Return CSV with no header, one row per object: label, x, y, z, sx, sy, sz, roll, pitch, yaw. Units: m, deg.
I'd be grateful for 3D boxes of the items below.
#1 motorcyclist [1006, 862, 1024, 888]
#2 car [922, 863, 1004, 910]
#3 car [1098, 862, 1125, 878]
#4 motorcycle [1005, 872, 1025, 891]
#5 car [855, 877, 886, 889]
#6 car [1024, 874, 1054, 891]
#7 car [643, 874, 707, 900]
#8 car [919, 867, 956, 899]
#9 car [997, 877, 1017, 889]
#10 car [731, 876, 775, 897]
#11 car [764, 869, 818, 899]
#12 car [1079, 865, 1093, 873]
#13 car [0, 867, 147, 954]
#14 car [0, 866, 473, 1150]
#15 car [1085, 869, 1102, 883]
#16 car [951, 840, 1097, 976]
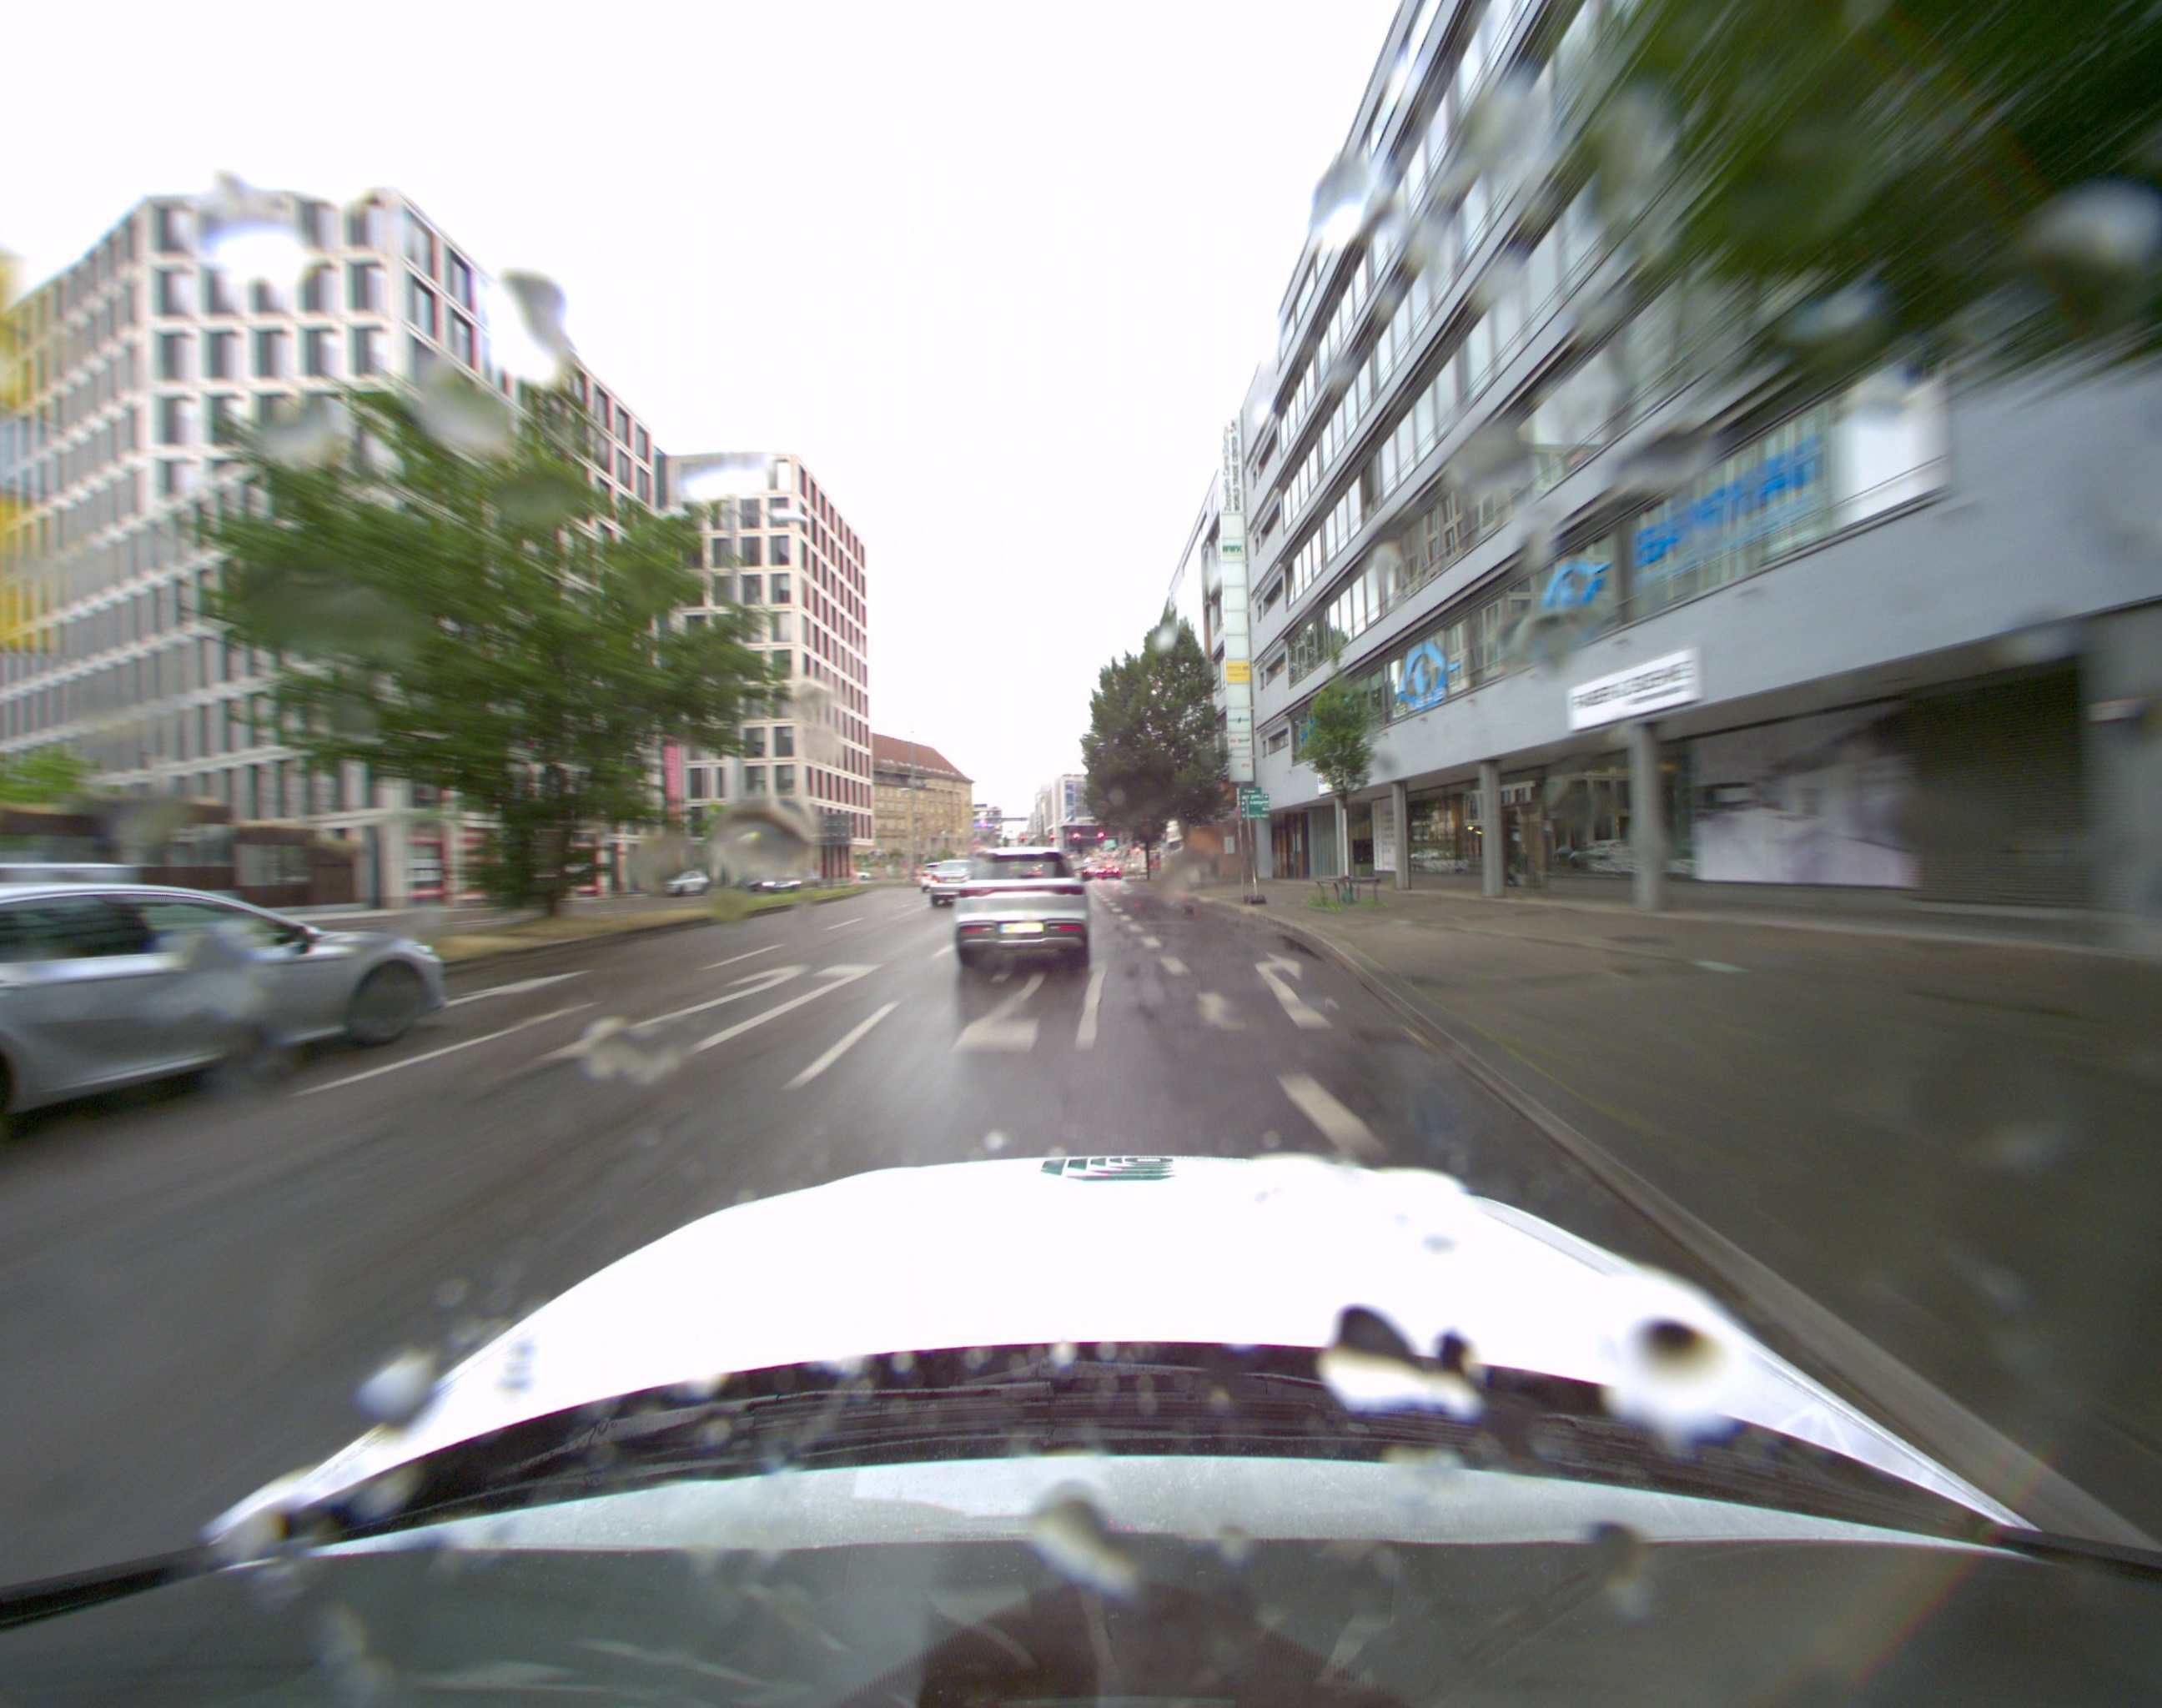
motorcyclist,-3.780,1.187,46.834,0.938,1.476,1.100,-1,-2,1
car,-3.771,1.027,26.828,1.725,1.404,4.388,-1,-2,4
car,3.090,1.604,81.714,1.877,1.544,4.009,-1,-2,15
motorcycle,-3.772,1.564,46.762,0.938,0.989,2.295,-1,-1,1
car,-31.262,4.345,120.905,4.390,1.662,1.989,0,-2,-17
car,-3.799,2.625,75.052,1.877,1.515,5.011,-1,-2,7
car,-25.147,1.995,50.605,1.692,1.424,4.373,-3,-1,0
car,-7.799,1.559,44.574,1.731,1.616,3.991,-1,-2,-6
car,-8.295,3.261,91.805,1.777,1.373,3.994,-1,-2,1
car,-24.967,2.456,62.089,1.692,1.424,3.954,-3,-1,0
car,-16.902,1.716,47.739,1.823,1.632,4.865,-1,-2,-5
car,1.121,3.607,195.019,2.000,1.816,3.972,0,-2,-20
car,-26.041,1.334,19.362,1.987,2.014,4.913,-1,-2,-1
car,-6.718,0.861,5.363,1.825,1.521,4.799,-1,-2,-1
car,1.443,2.577,95.144,1.776,1.402,4.490,-1,0,3
car,-0.679,0.722,12.234,1.802,1.661,4.170,-1,-2,1
